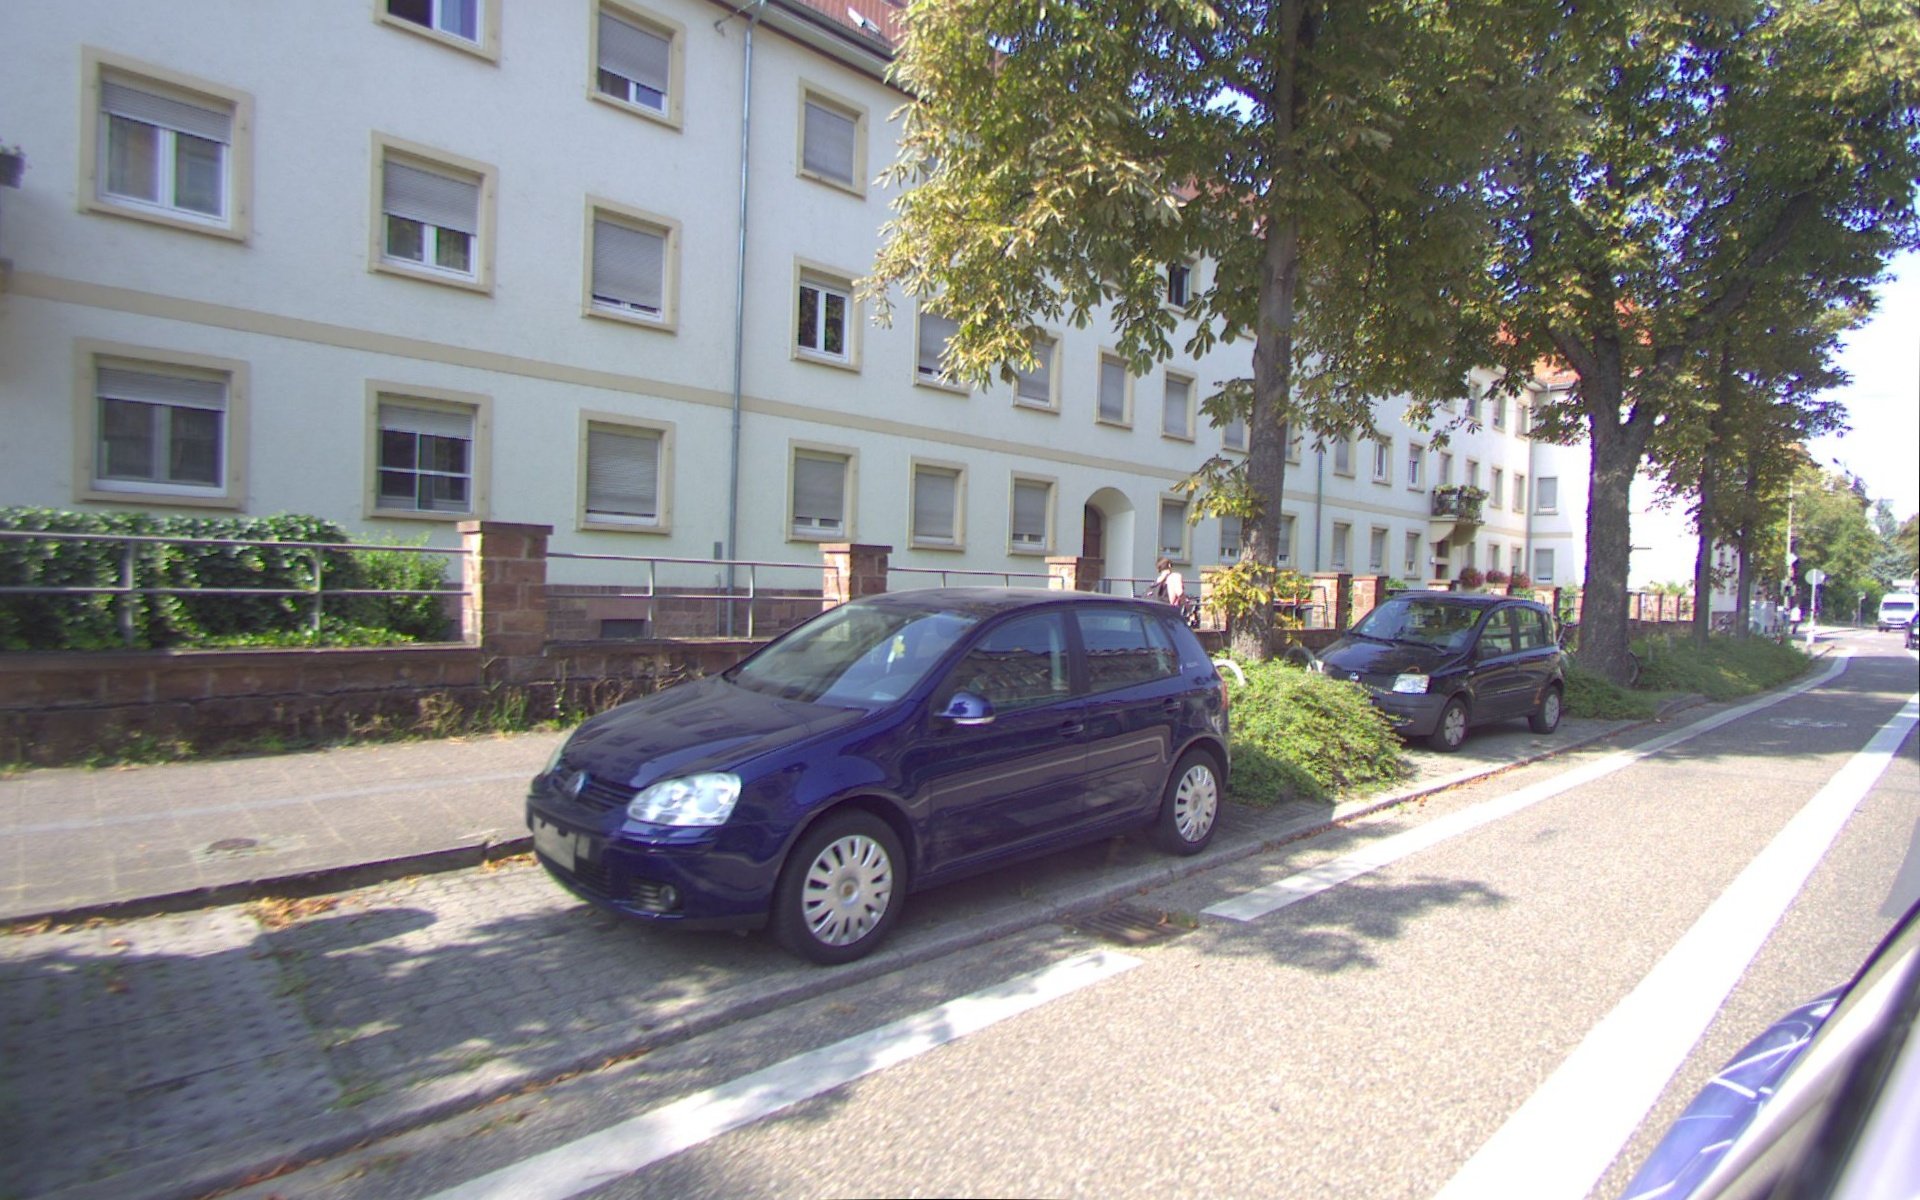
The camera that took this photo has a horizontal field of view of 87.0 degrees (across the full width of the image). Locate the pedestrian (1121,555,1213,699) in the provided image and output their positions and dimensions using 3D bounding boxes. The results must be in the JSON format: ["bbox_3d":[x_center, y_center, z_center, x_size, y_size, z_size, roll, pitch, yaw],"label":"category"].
[{"bbox_3d":[2.655,0.325,13.004,0.862,1.771,0.754,1,0,-37],"label":"pedestrian"}]

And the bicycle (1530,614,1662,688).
[{"bbox_3d":[9.742,0.771,15.532,1.695,1.087,0.525,1,0,-1],"label":"bicycle"}]

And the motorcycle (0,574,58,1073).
[{"bbox_3d":[-3.096,0.610,2.770,1.856,1.306,0.693,7,-1,44],"label":"motorcycle"}]

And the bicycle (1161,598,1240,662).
[{"bbox_3d":[4.350,0.522,18.254,1.699,1.087,0.524,1,0,-43],"label":"bicycle"}]

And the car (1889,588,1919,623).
[{"bbox_3d":[65.064,0.394,69.267,2.082,2.306,4.751,1,0,43],"label":"car"}]

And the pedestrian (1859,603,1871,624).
[{"bbox_3d":[74.208,1.096,82.975,0.648,1.739,0.544,1,0,-28],"label":"pedestrian"}]

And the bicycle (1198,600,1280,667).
[{"bbox_3d":[4.743,0.546,17.146,1.699,1.087,0.524,1,0,-43],"label":"bicycle"}]

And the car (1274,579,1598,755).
[{"bbox_3d":[5.300,0.612,11.103,3.772,1.559,1.650,0,3,-38],"label":"car"}]

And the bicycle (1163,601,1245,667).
[{"bbox_3d":[4.238,0.562,17.509,1.699,1.087,0.524,1,0,-43],"label":"bicycle"}]

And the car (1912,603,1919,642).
[{"bbox_3d":[38.198,0.881,39.133,1.769,1.487,3.941,0,0,40],"label":"car"}]

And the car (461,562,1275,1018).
[{"bbox_3d":[-0.160,0.611,5.389,4.175,1.466,1.647,0,3,-44],"label":"car"}]

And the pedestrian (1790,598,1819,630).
[{"bbox_3d":[49.017,0.816,58.761,0.953,1.745,1.078,1,3,-44],"label":"pedestrian"}]

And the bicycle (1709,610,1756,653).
[{"bbox_3d":[21.403,0.860,28.037,0.772,1.118,2.296,2,1,44],"label":"bicycle"}]
